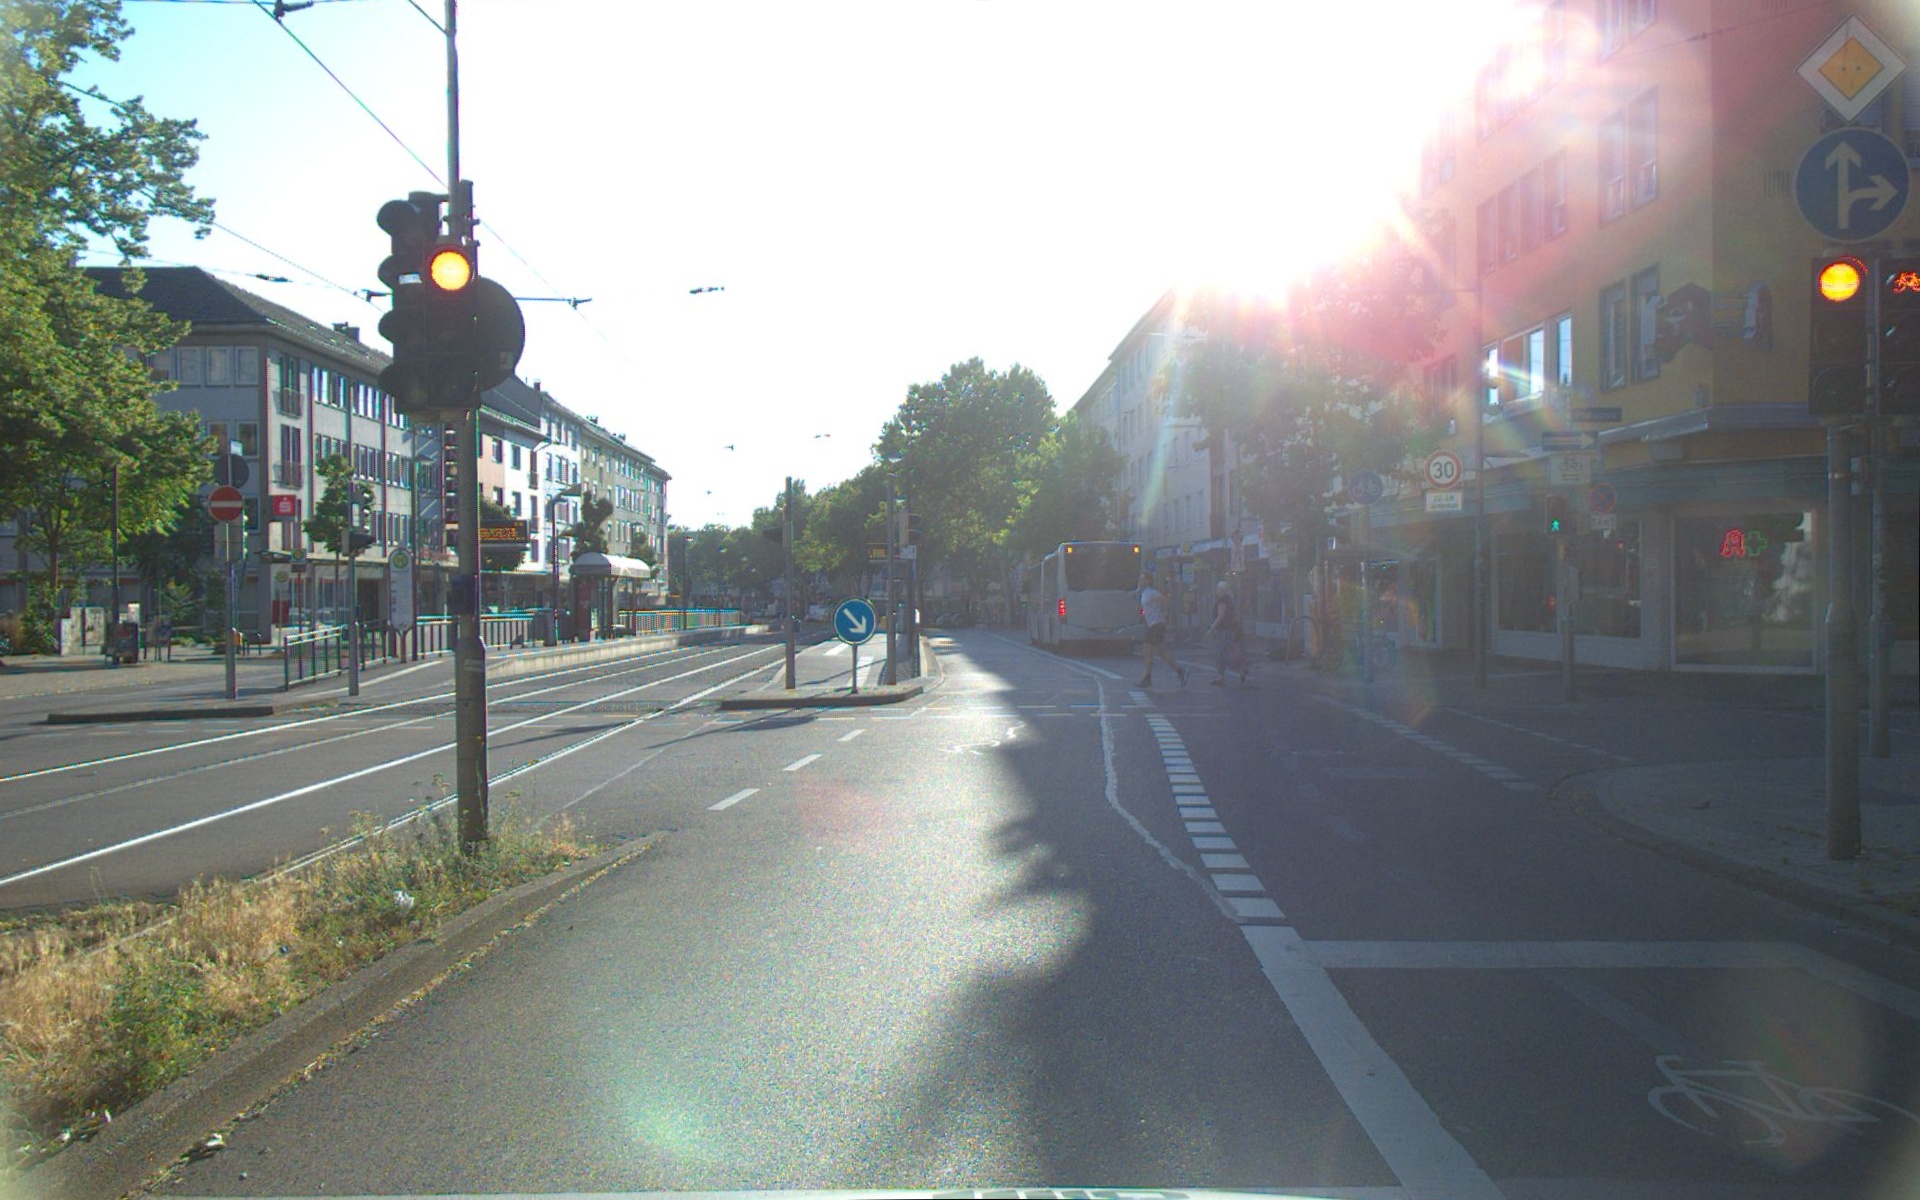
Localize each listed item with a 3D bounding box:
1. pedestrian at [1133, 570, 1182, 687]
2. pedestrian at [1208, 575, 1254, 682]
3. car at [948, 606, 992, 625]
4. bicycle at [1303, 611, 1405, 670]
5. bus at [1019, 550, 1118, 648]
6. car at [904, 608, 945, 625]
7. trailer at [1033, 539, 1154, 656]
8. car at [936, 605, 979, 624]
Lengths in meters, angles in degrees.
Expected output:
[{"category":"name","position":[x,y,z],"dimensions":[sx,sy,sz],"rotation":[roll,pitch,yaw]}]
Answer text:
[{"category":"pedestrian","position":[3.105,0.440,26.067],"dimensions":[0.666,1.801,0.687],"rotation":[-1,0,0]},{"category":"pedestrian","position":[4.635,0.481,28.343],"dimensions":[0.666,1.801,0.687],"rotation":[0,0,0]},{"category":"car","position":[0.993,1.482,158.450],"dimensions":[3.848,1.729,1.815],"rotation":[-1,0,-30]},{"category":"bicycle","position":[7.474,0.759,31.423],"dimensions":[1.737,1.039,0.694],"rotation":[-2,0,-2]},{"category":"bus","position":[3.747,-0.032,58.997],"dimensions":[2.755,3.156,9.092],"rotation":[1,0,-1]},{"category":"car","position":[-3.564,1.615,166.331],"dimensions":[3.848,1.624,1.674],"rotation":[-1,0,-30]},{"category":"trailer","position":[3.876,-0.059,50.057],"dimensions":[2.755,3.165,8.792],"rotation":[1,0,-1]},{"category":"car","position":[-0.253,1.398,161.199],"dimensions":[3.848,1.729,1.815],"rotation":[-1,0,-30]}]
